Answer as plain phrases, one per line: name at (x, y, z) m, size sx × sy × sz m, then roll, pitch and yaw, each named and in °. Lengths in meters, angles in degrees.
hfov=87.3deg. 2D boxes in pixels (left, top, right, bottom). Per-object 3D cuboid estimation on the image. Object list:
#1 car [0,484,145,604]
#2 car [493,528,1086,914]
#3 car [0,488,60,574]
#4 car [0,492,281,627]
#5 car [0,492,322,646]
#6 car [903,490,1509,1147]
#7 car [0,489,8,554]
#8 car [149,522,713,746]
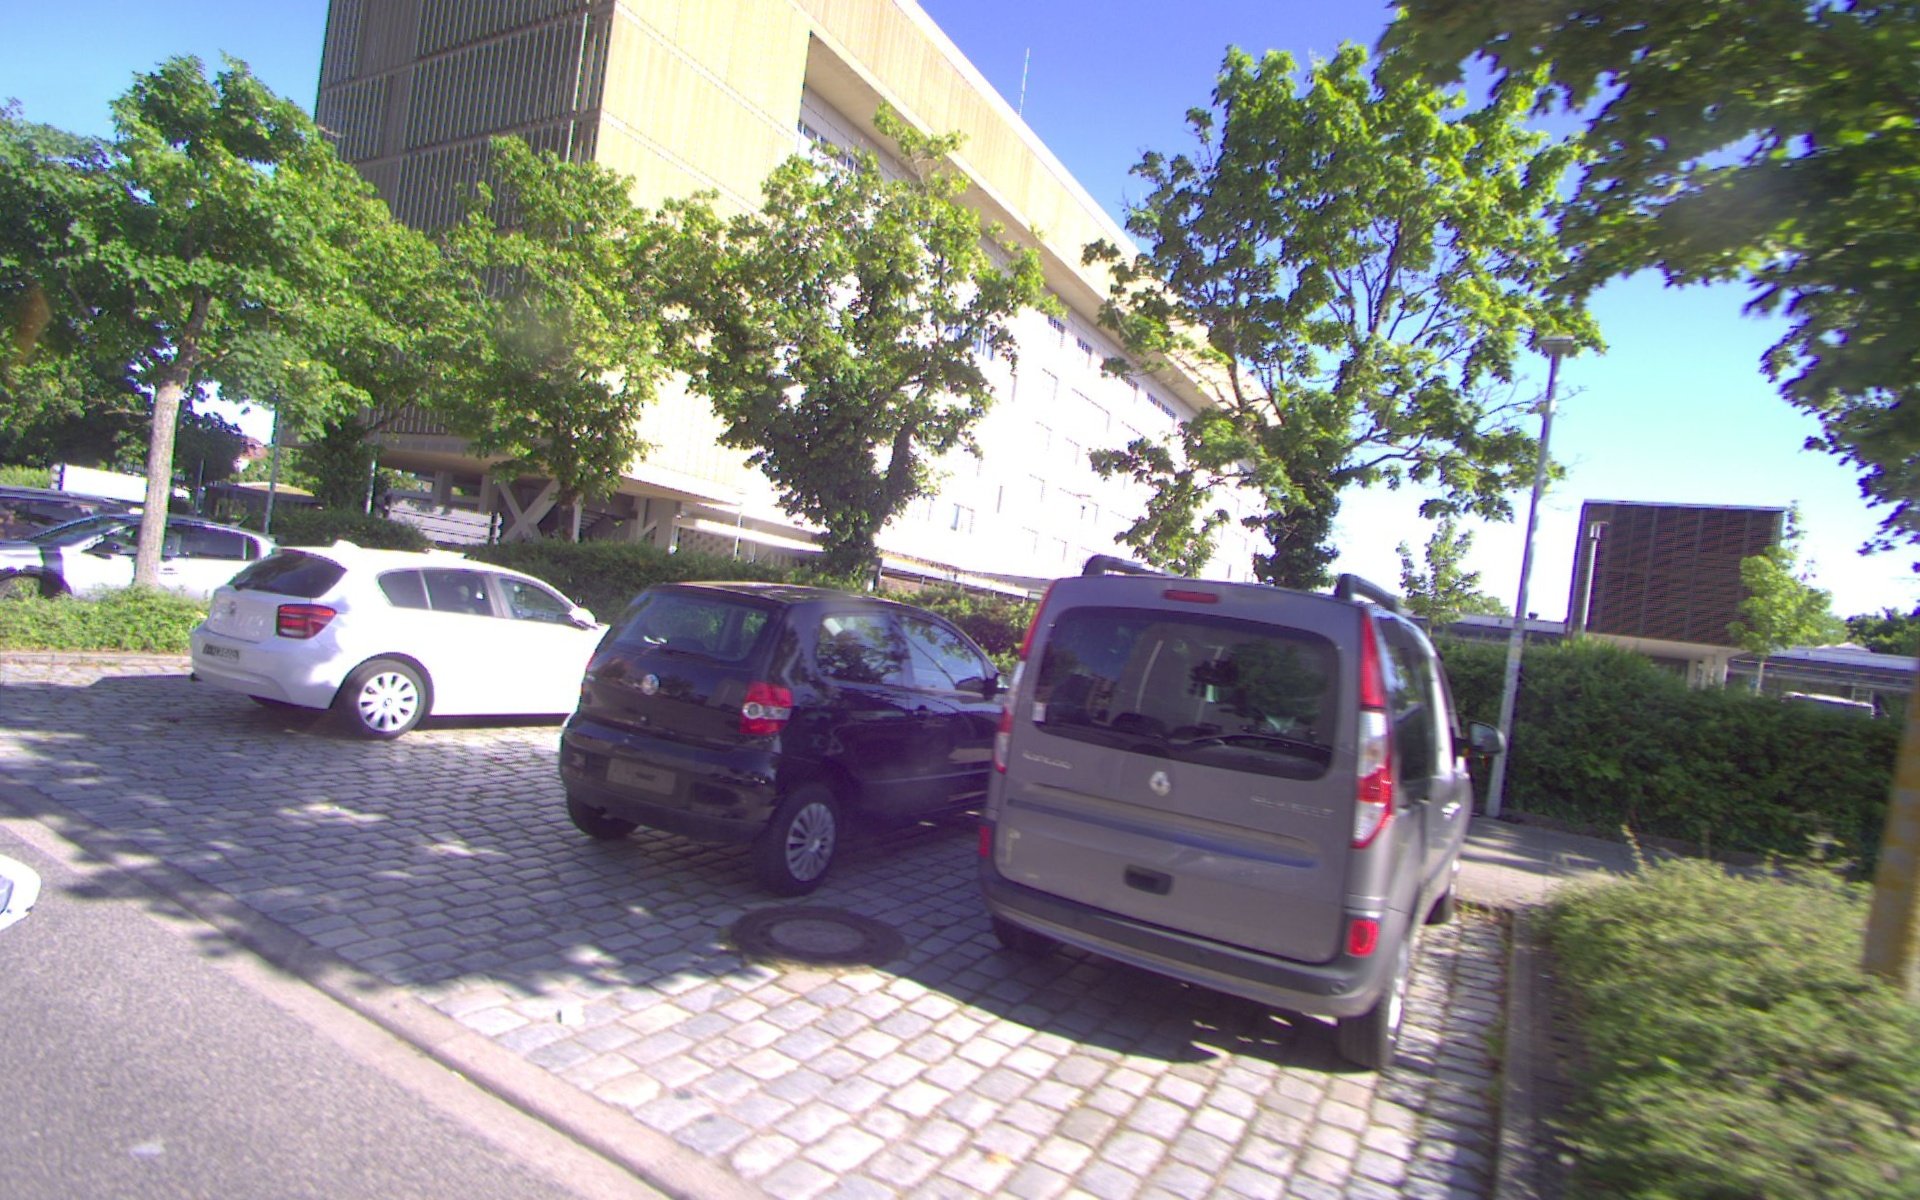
car at (-14.801, -0.983, 14.639) m, size 1.711 × 1.599 × 4.151 m, roll 7°, pitch -1°, yaw 30°
car at (-0.746, 0.656, 6.415) m, size 1.678 × 1.568 × 3.614 m, roll 8°, pitch -1°, yaw 29°
car at (-19.900, -1.554, 18.926) m, size 1.831 × 1.556 × 3.993 m, roll 6°, pitch -2°, yaw 32°
car at (-12.291, -0.576, 14.382) m, size 1.624 × 1.522 × 3.871 m, roll 7°, pitch -1°, yaw 29°
car at (-10.441, -0.380, 12.394) m, size 1.713 × 1.503 × 3.908 m, roll 7°, pitch -1°, yaw 30°
car at (1.725, 0.810, 5.444) m, size 1.945 × 1.950 × 4.127 m, roll 8°, pitch -1°, yaw 29°
car at (-22.117, -1.806, 20.119) m, size 1.998 × 1.600 × 3.993 m, roll 6°, pitch -2°, yaw 32°
car at (-4.375, 0.341, 8.986) m, size 1.713 × 1.443 × 4.066 m, roll 6°, pitch -1°, yaw 32°
